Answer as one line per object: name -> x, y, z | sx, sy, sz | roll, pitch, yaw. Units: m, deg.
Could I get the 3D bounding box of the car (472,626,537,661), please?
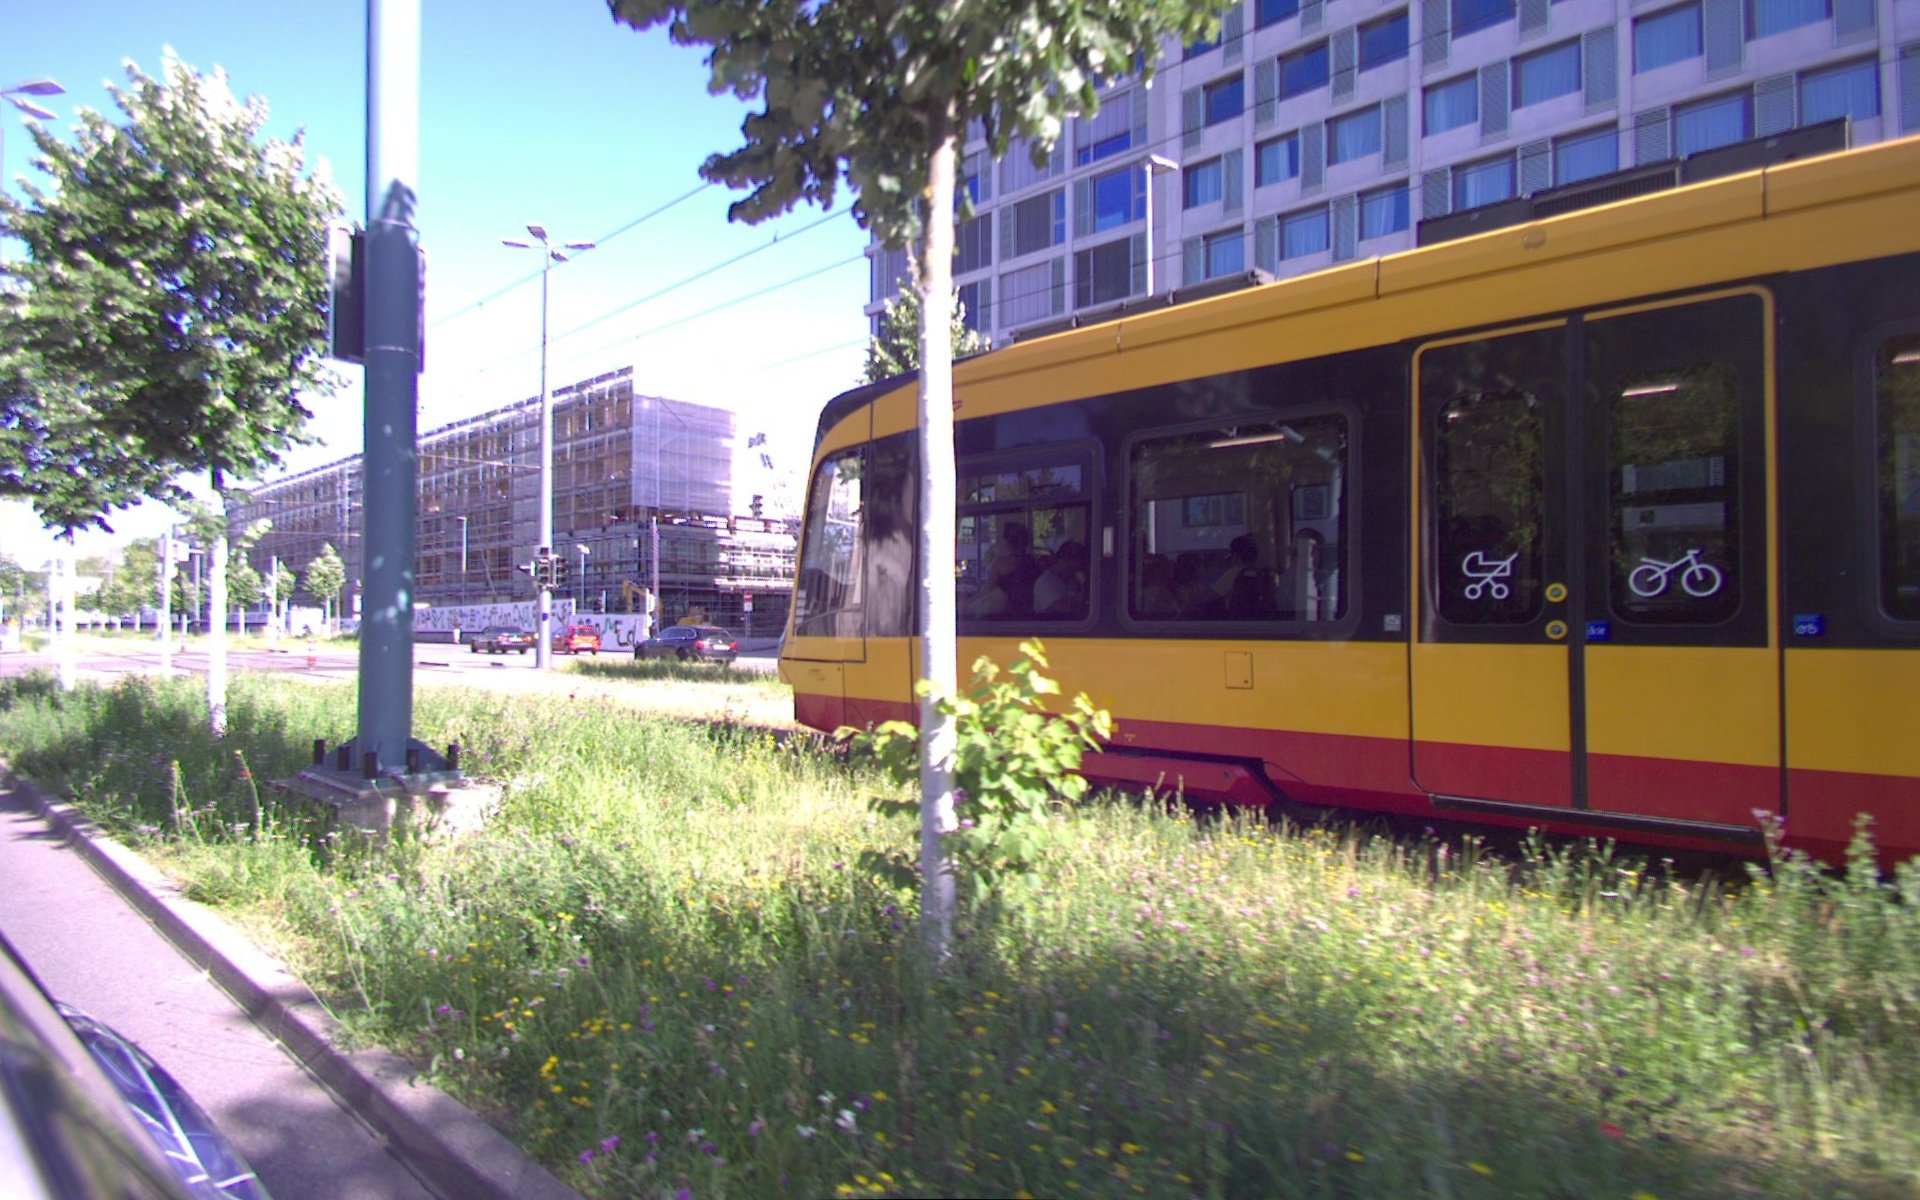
car -> -22.644, 2.117, 50.226 | 1.861, 1.586, 4.006 | 0, -1, -41

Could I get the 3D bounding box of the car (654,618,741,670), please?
car -> -9.275, 1.477, 35.567 | 1.749, 1.686, 3.899 | 0, -1, -35

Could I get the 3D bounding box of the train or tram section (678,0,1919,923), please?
train or tram section -> 3.447, -0.608, 5.326 | 14.142, 3.697, 1.973 | -1, -1, 41

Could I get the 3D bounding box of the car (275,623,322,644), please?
car -> -54.711, 2.754, 83.700 | 3.990, 1.586, 1.868 | -1, -1, 35

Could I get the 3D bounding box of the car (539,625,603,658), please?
car -> -20.065, 2.099, 52.126 | 1.861, 1.586, 4.006 | 0, -1, -41
